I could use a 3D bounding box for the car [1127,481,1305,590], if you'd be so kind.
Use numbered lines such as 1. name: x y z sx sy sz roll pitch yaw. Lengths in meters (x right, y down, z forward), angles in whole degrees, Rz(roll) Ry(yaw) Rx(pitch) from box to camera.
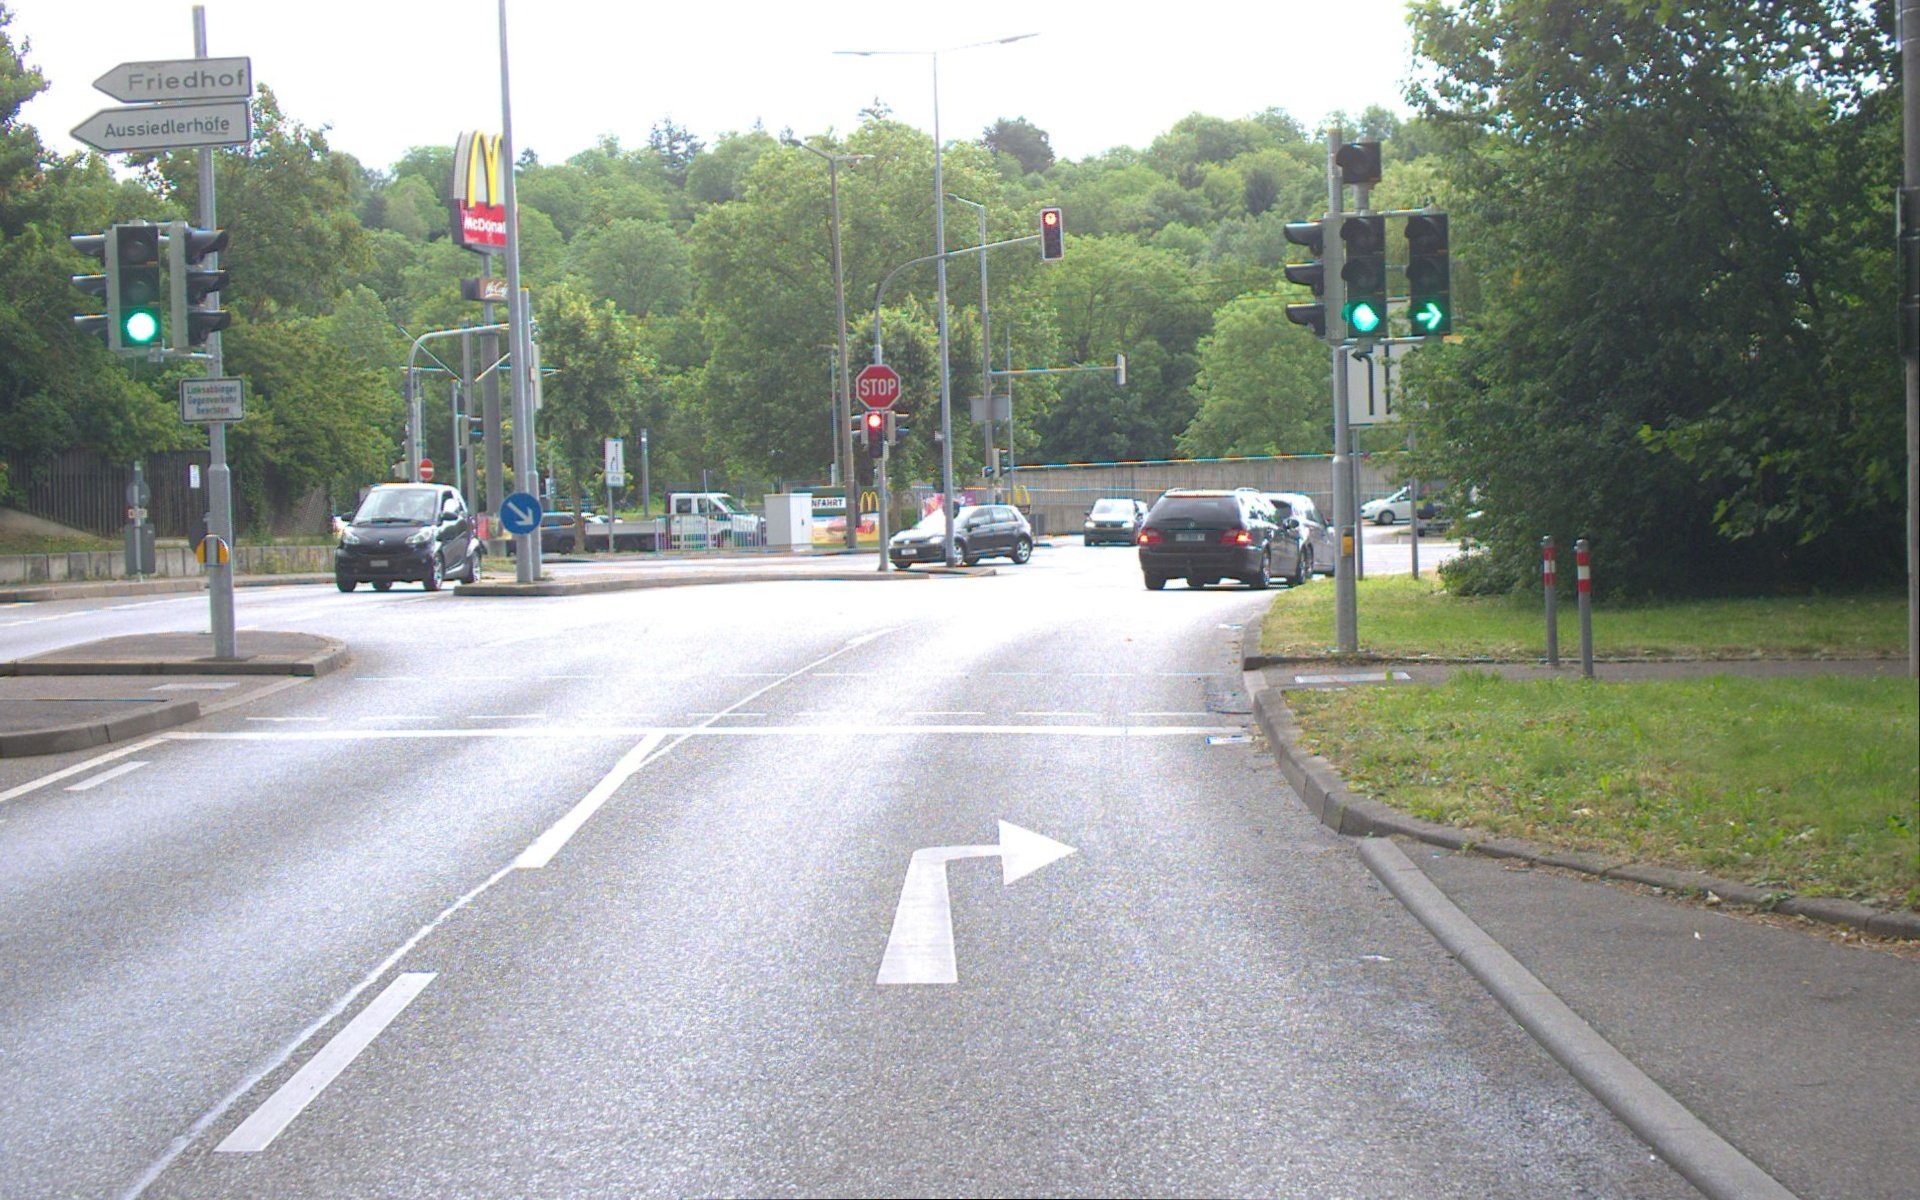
1. car: 3.888 -0.982 51.452 1.823 1.504 4.571 -1 1 15

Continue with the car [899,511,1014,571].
1. car: -0.053 -1.430 82.253 1.678 1.361 4.308 0 2 15

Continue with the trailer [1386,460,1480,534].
1. trailer: 17.514 -3.793 127.010 2.354 2.573 4.915 -2 0 20

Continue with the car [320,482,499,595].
1. car: -7.988 -0.920 50.116 1.569 1.521 3.188 -1 2 10

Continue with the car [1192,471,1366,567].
1. car: 5.433 -1.371 58.178 1.729 1.525 4.144 -1 1 23
